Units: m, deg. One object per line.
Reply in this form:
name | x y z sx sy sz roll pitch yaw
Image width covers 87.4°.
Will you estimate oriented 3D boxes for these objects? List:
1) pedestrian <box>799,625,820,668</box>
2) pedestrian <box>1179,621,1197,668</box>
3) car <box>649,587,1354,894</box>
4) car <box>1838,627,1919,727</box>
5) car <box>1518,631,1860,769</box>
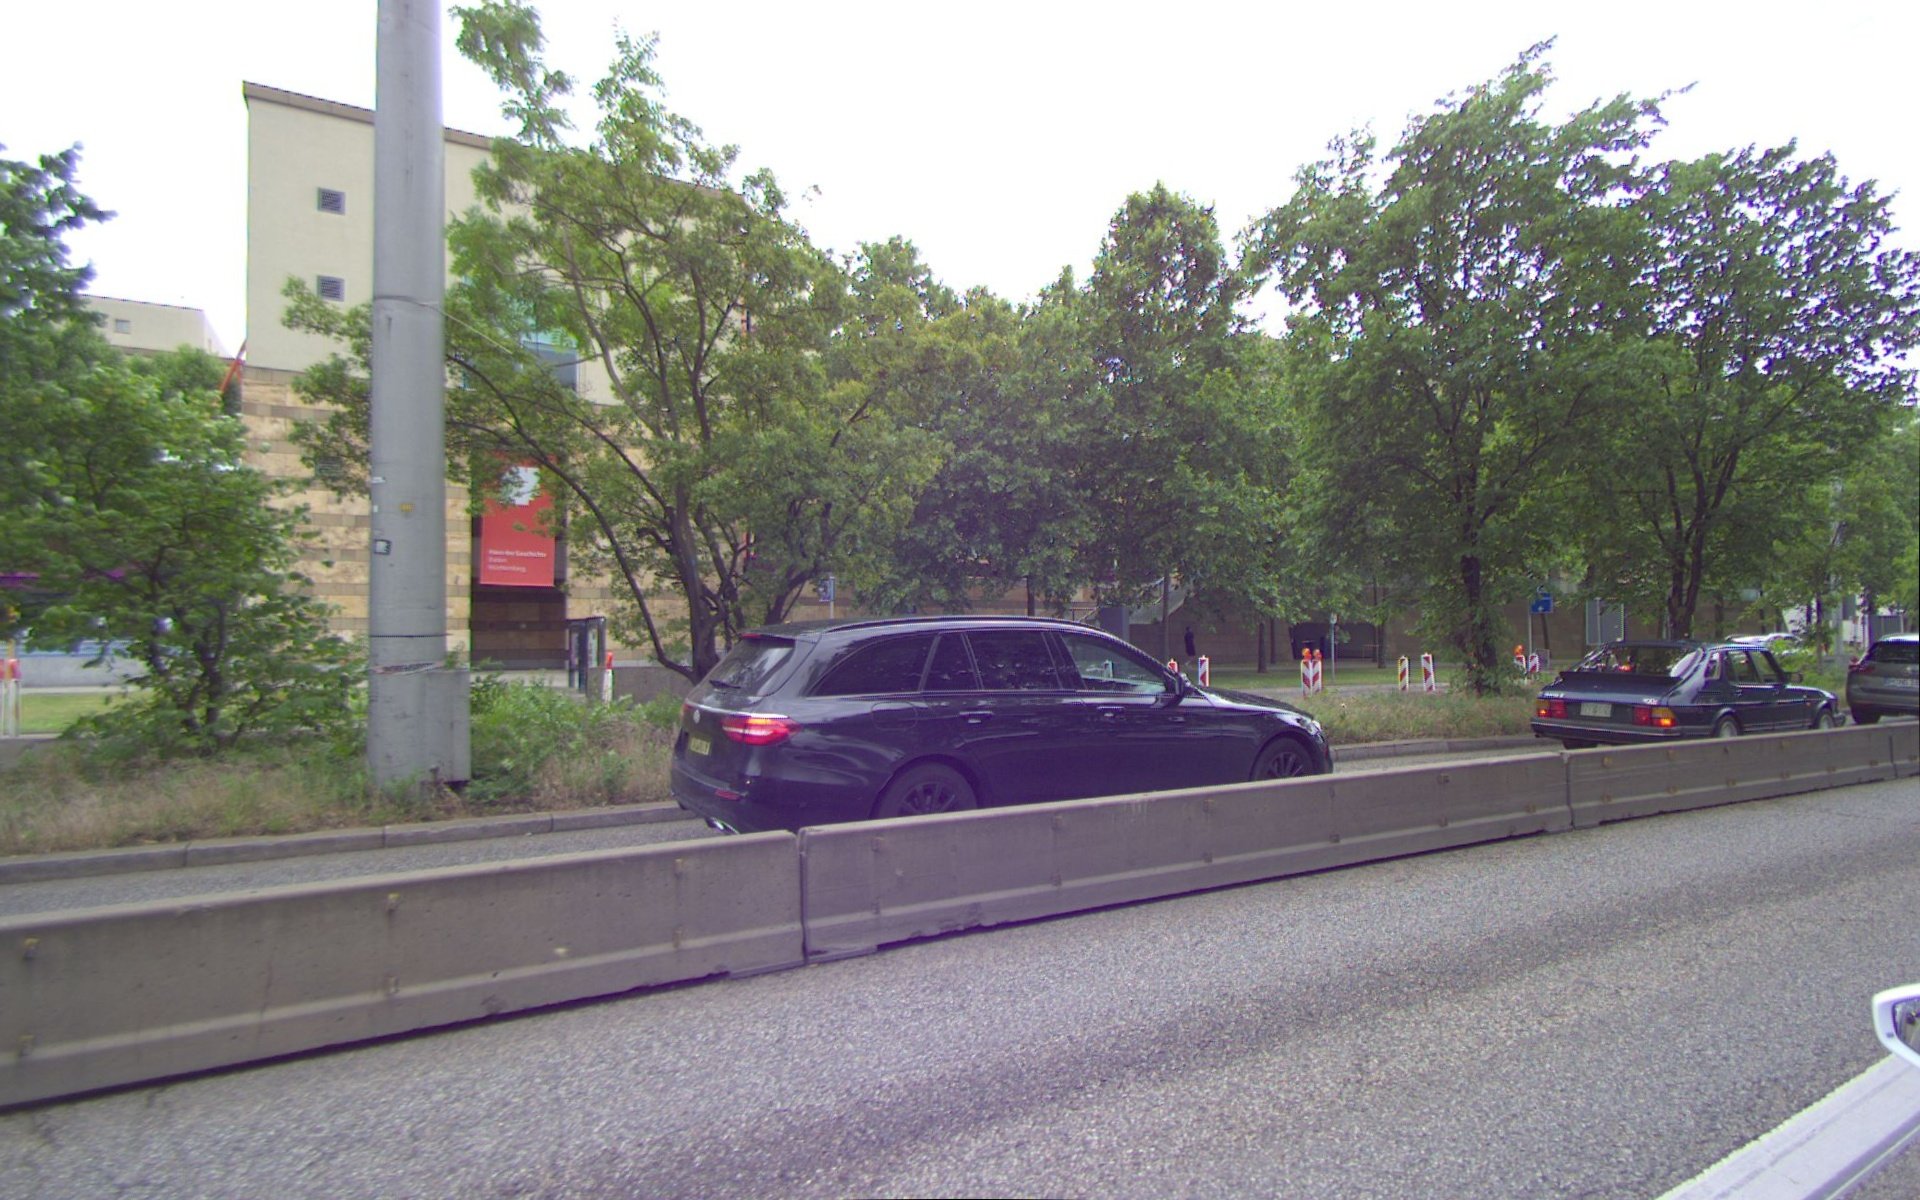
pedestrian | -5.634 1.748 37.572 0.616 1.590 0.434 1 -2 -38
pedestrian | 10.096 1.968 44.483 0.657 2.040 0.449 1 -1 -30
car | 0.444 0.759 6.991 4.714 1.519 1.807 1 -2 -31
car | 15.754 1.191 15.915 3.914 1.455 1.653 2 -1 -30
car | 8.802 1.069 12.035 4.490 1.385 1.670 1 -2 -31
